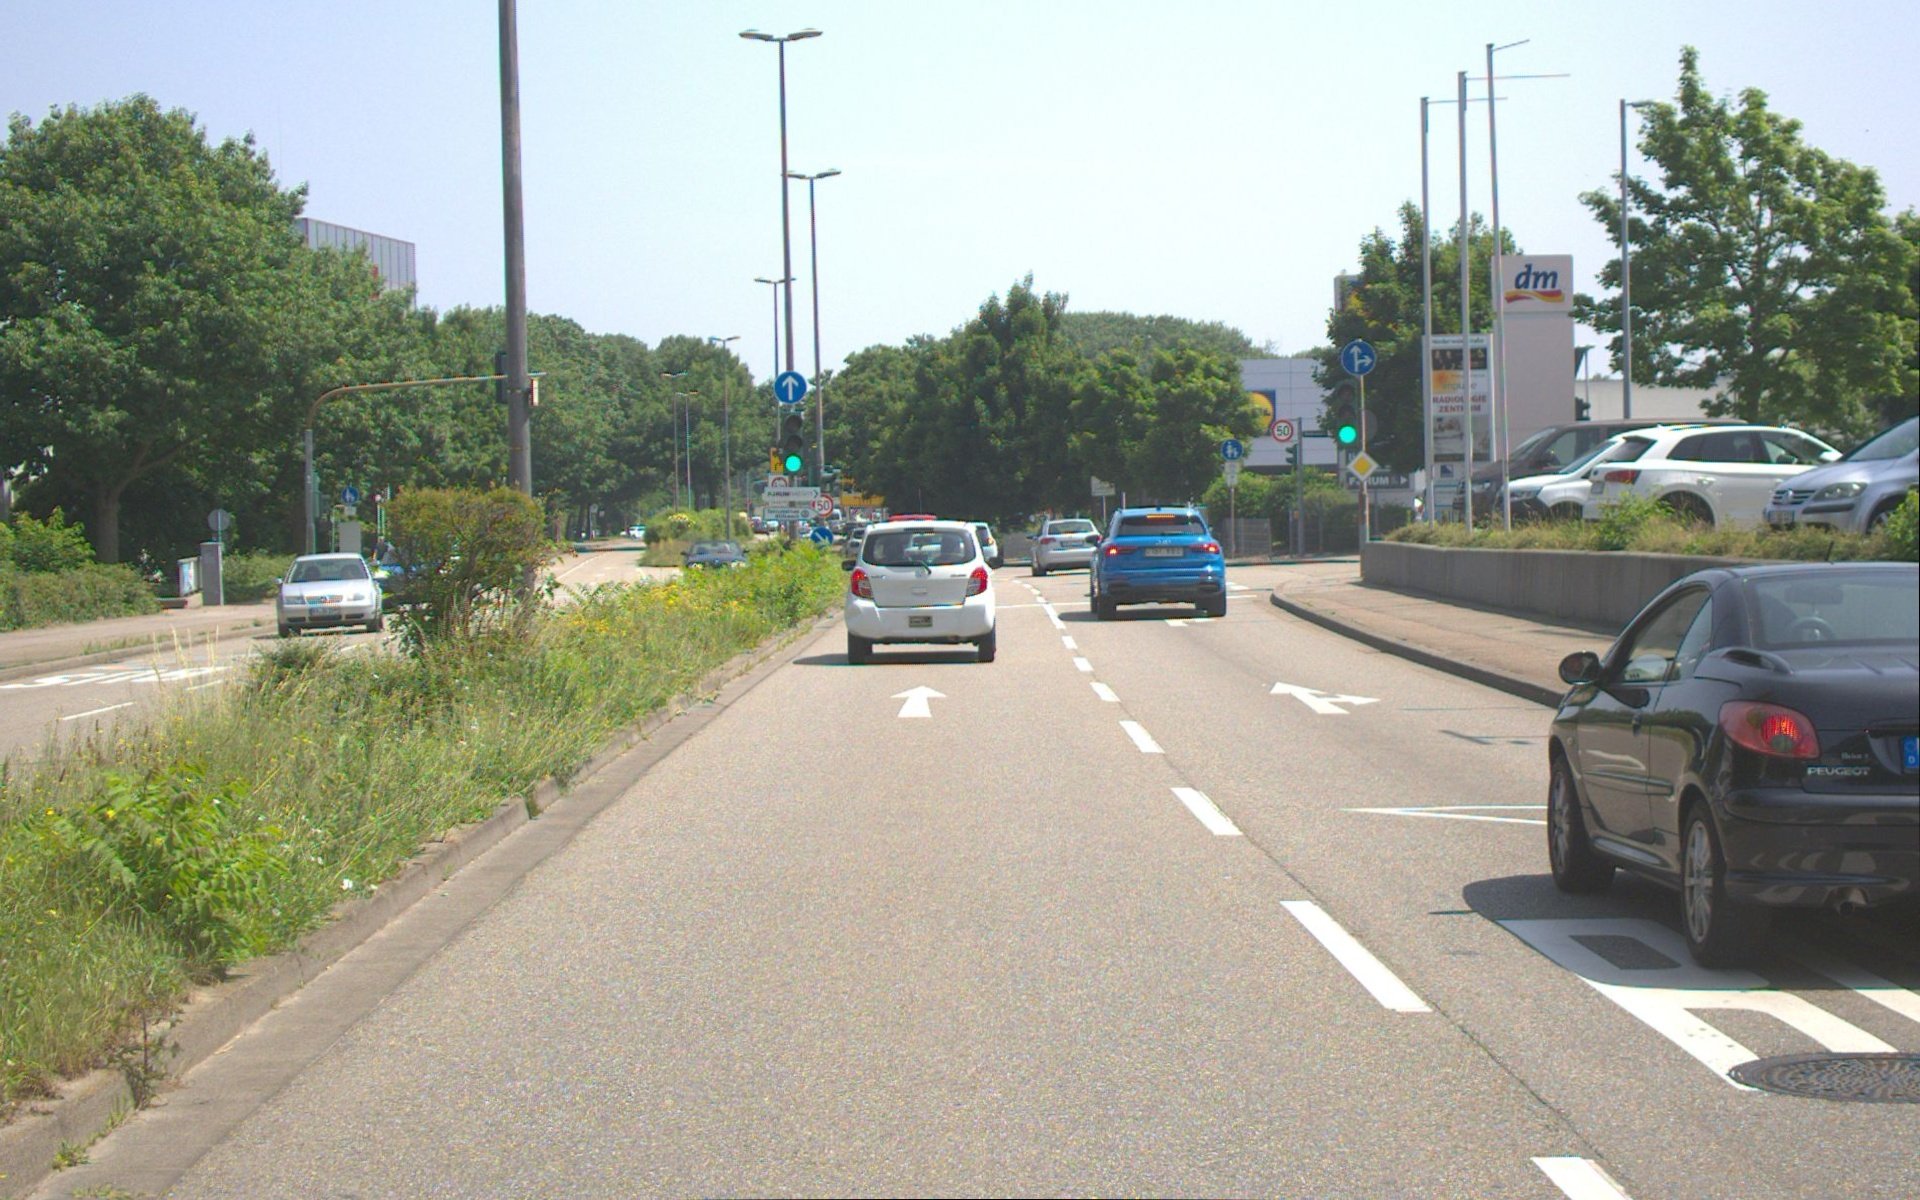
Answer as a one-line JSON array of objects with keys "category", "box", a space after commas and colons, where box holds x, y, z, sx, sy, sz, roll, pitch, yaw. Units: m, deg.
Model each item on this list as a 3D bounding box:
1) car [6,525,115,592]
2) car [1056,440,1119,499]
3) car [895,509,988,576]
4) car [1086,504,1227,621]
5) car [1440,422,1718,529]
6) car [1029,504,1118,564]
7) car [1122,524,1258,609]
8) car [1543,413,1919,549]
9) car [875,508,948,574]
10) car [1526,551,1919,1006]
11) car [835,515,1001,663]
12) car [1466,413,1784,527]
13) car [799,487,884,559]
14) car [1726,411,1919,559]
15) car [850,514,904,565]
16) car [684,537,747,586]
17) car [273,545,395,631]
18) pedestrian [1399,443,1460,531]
[{"category": "car", "box": [-23.117, -1.088, 88.518, 1.856, 1.591, 4.317, -3, 1, -4]}, {"category": "car", "box": [4.552, -4.666, 123.302, 1.769, 2.006, 3.992, -2, 2, -4]}, {"category": "car", "box": [-0.441, -1.324, 78.205, 1.993, 1.437, 4.000, -2, 1, -1]}, {"category": "car", "box": [2.825, -0.580, 50.071, 1.828, 1.574, 3.606, -1, 2, 0]}, {"category": "car", "box": [9.872, -1.983, 55.059, 3.986, 1.539, 2.000, -2, 1, -2]}, {"category": "car", "box": [2.849, -1.689, 87.247, 1.993, 1.415, 4.000, -2, 1, -1]}, {"category": "car", "box": [4.007, -0.597, 59.484, 1.459, 1.371, 3.488, -1, 1, 19]}, {"category": "car", "box": [9.882, -1.507, 43.694, 4.535, 1.539, 2.000, -2, 1, -1]}, {"category": "car", "box": [-1.371, -1.650, 95.627, 1.775, 1.734, 4.001, -2, 1, -4]}, {"category": "car", "box": [3.230, 0.549, 12.755, 1.627, 1.359, 3.606, 0, 2, 0]}, {"category": "car", "box": [-0.431, -0.165, 38.239, 1.748, 1.515, 3.746, 0, 2, 0]}, {"category": "car", "box": [10.071, -1.964, 52.254, 4.346, 1.539, 2.000, -2, 1, -2]}, {"category": "car", "box": [-2.922, -1.906, 84.093, 1.819, 1.656, 4.001, -2, 3, -5]}, {"category": "car", "box": [10.136, -1.217, 35.595, 3.920, 1.447, 1.765, -2, 1, -18]}, {"category": "car", "box": [-2.880, -2.100, 119.515, 1.797, 1.684, 4.000, -2, 1, -1]}, {"category": "car", "box": [-6.708, -1.073, 94.252, 1.573, 1.264, 3.731, -2, 1, -6]}, {"category": "car", "box": [-11.094, -0.237, 61.140, 1.735, 1.408, 4.372, -2, 1, -6]}, {"category": "pedestrian", "box": [8.805, -2.117, 64.450, 0.775, 1.602, 1.083, -1, 1, 27]}]
